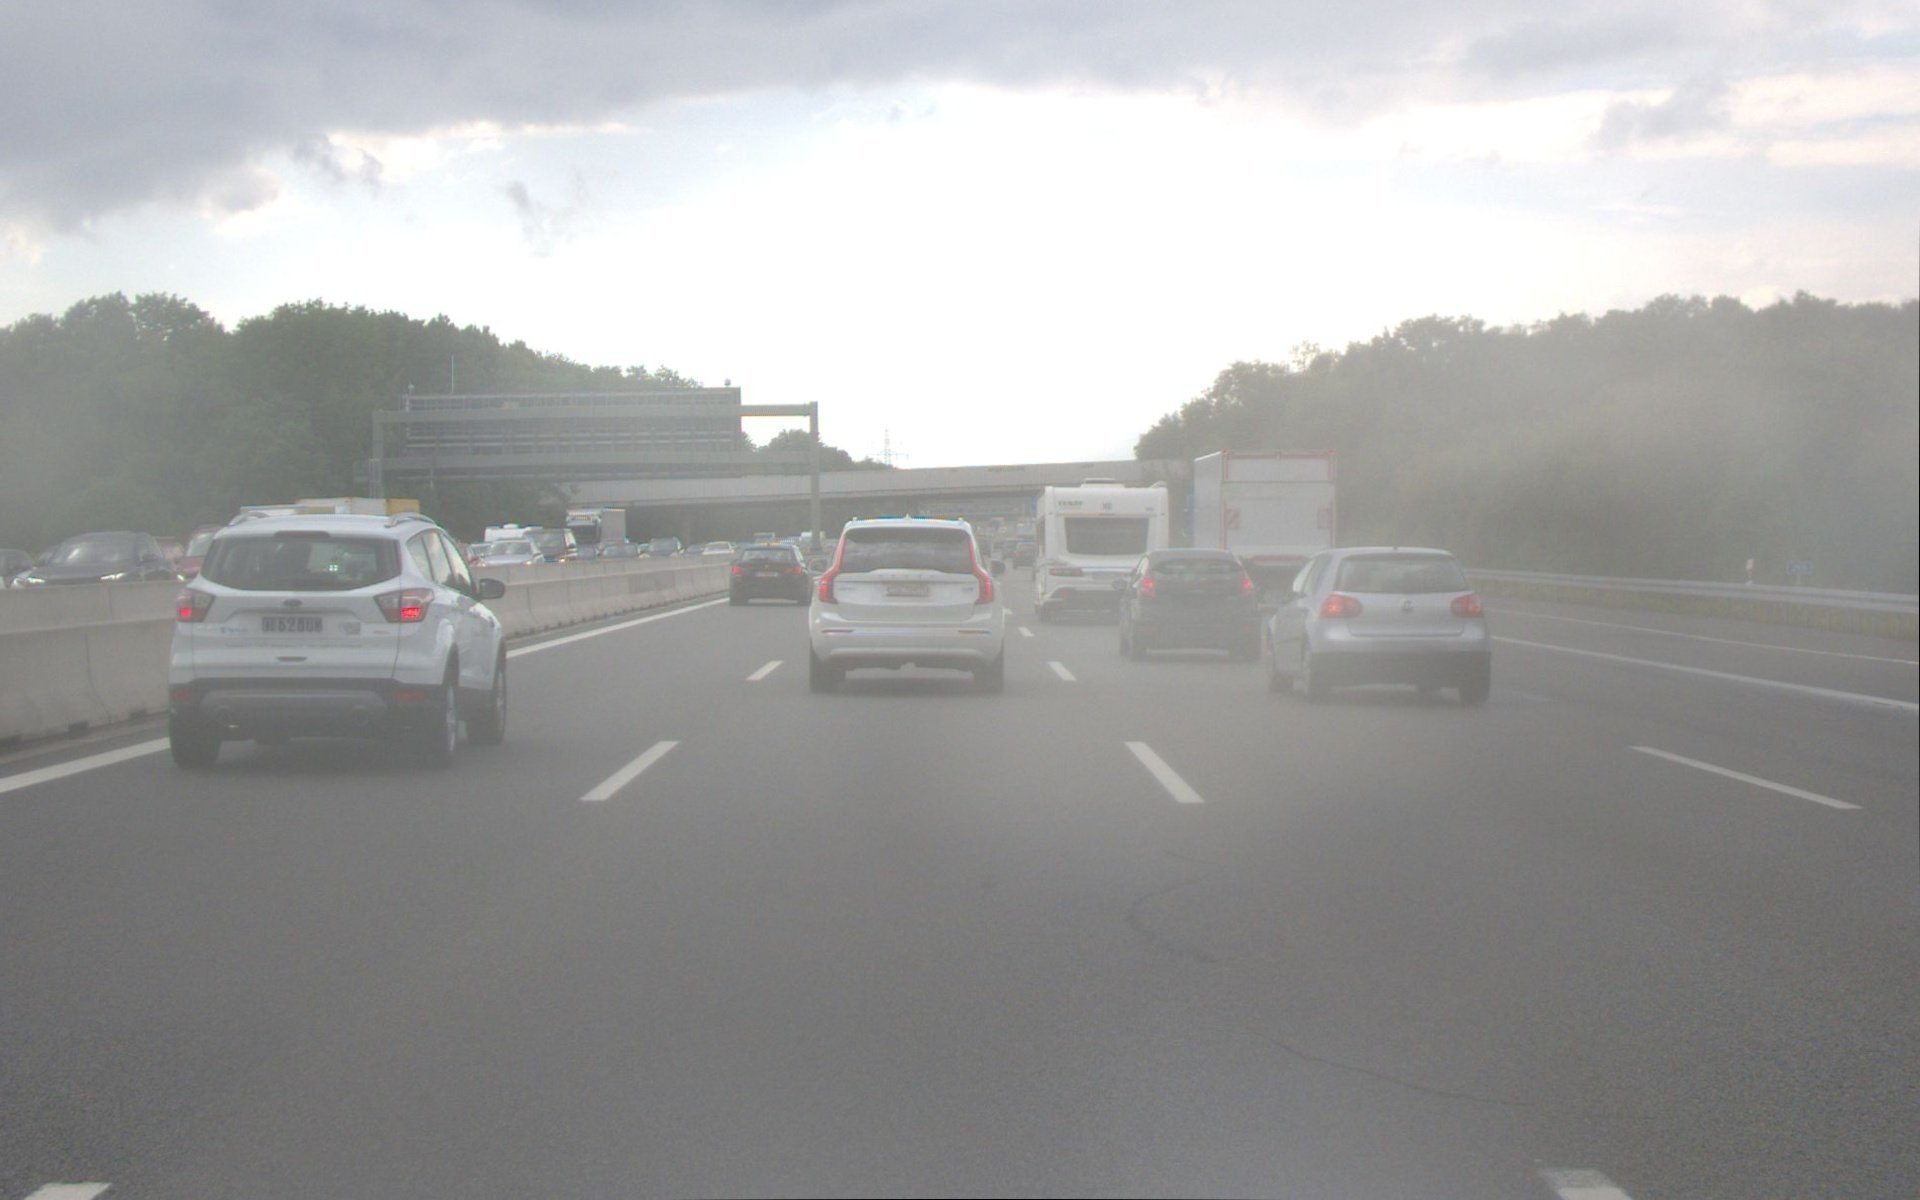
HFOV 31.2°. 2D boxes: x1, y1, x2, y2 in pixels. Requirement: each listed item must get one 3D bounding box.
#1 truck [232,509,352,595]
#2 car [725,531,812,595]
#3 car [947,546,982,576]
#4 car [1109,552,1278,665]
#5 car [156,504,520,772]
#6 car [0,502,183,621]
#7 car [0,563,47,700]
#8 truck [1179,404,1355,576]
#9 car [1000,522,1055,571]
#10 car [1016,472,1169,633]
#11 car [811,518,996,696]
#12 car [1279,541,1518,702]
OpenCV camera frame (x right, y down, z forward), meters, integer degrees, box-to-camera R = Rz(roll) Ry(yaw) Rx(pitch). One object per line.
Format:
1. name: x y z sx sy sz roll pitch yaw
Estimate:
1. truck: -26.311 -1.908 135.813 2.910 3.279 9.202 0 1 0
2. car: -4.586 -0.904 82.757 1.781 1.476 4.353 0 1 1
3. car: 0.262 -2.308 202.614 1.881 1.680 4.001 0 1 -2
4. car: 3.036 0.077 45.429 1.885 1.402 4.283 0 1 -1
5. car: -4.230 0.183 24.108 1.815 1.684 4.853 0 1 -2
6. car: -15.452 -0.704 61.322 1.993 2.007 5.419 0 1 0
7. car: -15.143 0.469 50.821 1.993 2.007 4.972 0 1 0
8. truck: 6.945 -2.455 79.222 3.133 3.697 9.848 0 1 0
9. car: 2.588 -2.061 131.610 2.043 1.817 4.904 0 1 1
10. car: 2.451 -0.925 65.994 2.567 2.885 7.534 0 1 0
11. car: -0.574 0.027 35.380 1.781 1.710 4.353 0 1 -1
12. car: 4.227 0.166 33.671 1.795 1.472 4.038 0 1 0
